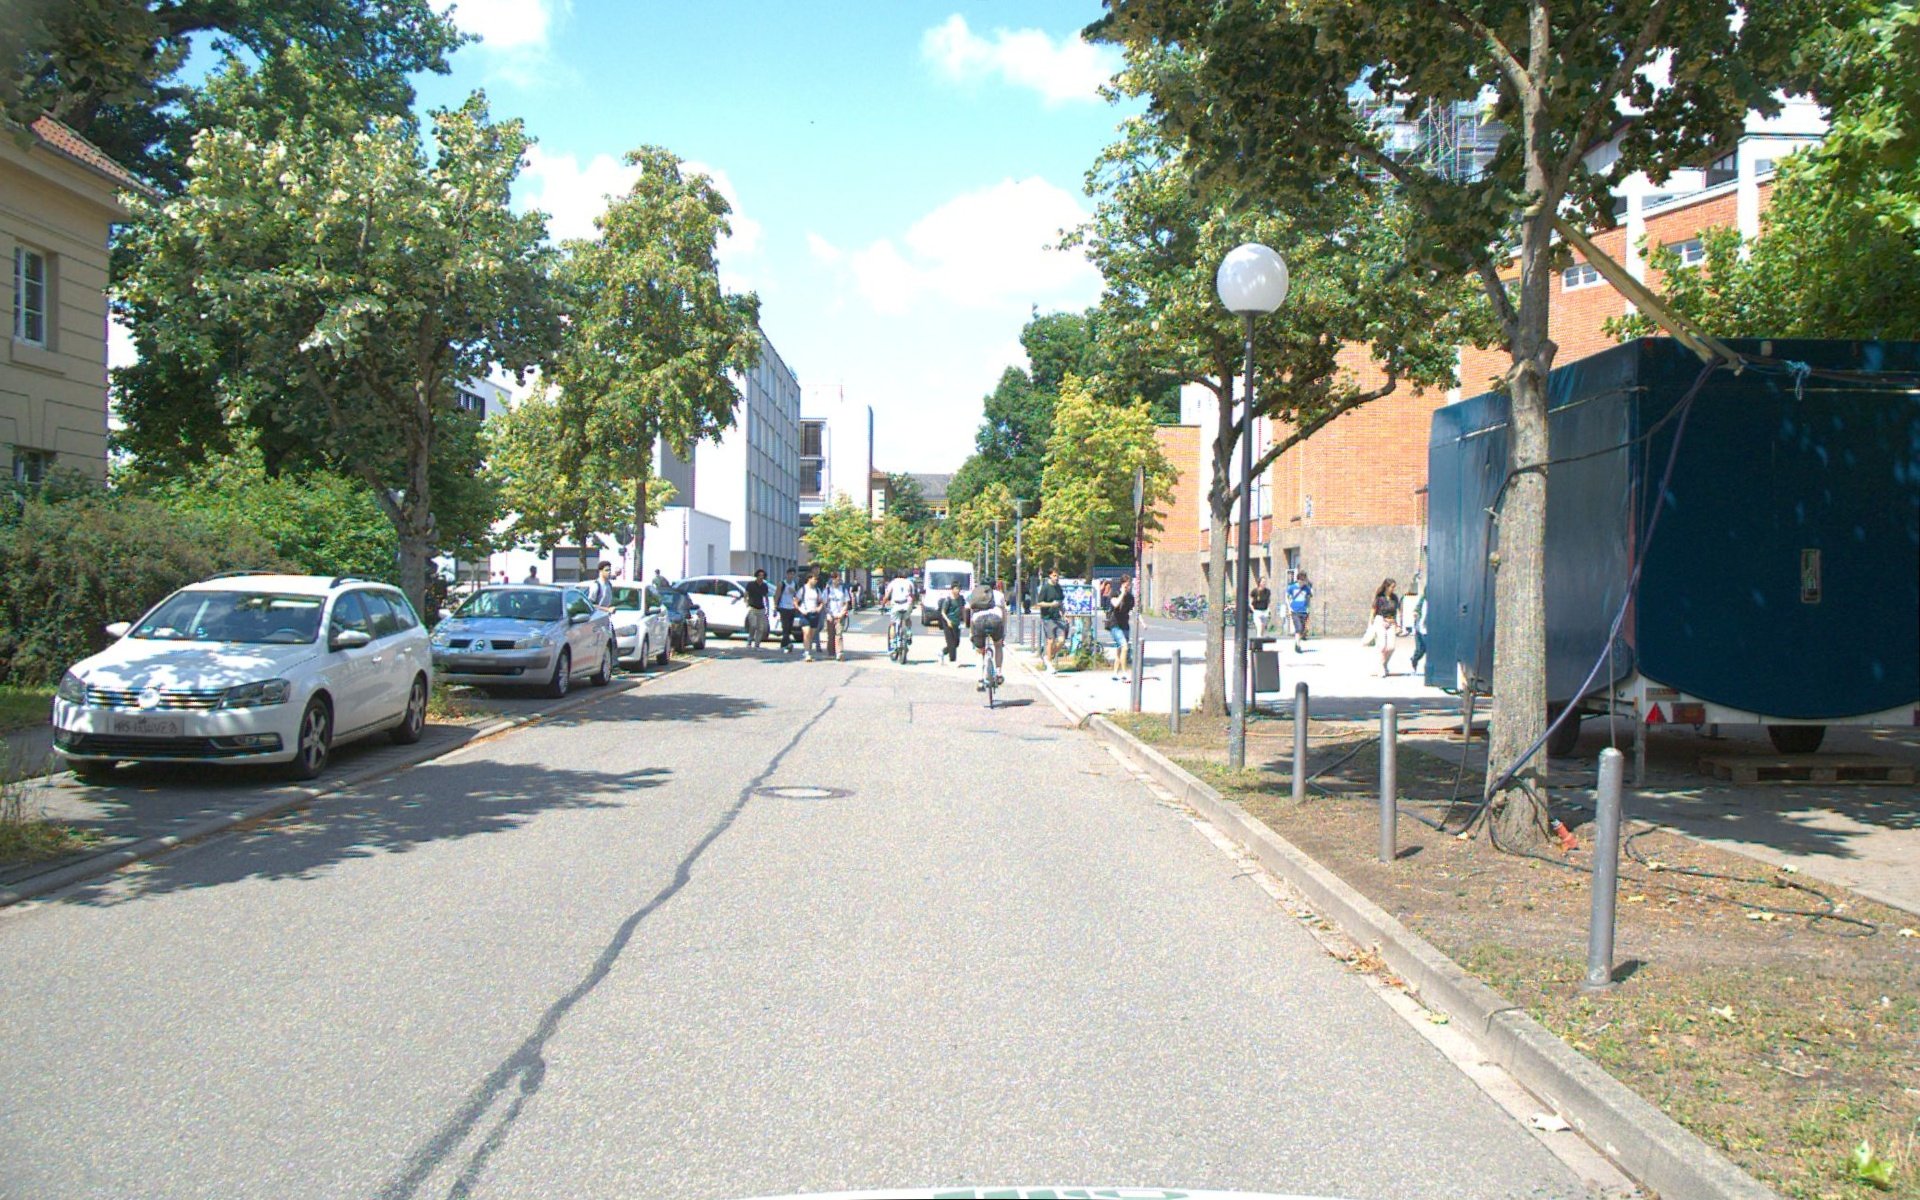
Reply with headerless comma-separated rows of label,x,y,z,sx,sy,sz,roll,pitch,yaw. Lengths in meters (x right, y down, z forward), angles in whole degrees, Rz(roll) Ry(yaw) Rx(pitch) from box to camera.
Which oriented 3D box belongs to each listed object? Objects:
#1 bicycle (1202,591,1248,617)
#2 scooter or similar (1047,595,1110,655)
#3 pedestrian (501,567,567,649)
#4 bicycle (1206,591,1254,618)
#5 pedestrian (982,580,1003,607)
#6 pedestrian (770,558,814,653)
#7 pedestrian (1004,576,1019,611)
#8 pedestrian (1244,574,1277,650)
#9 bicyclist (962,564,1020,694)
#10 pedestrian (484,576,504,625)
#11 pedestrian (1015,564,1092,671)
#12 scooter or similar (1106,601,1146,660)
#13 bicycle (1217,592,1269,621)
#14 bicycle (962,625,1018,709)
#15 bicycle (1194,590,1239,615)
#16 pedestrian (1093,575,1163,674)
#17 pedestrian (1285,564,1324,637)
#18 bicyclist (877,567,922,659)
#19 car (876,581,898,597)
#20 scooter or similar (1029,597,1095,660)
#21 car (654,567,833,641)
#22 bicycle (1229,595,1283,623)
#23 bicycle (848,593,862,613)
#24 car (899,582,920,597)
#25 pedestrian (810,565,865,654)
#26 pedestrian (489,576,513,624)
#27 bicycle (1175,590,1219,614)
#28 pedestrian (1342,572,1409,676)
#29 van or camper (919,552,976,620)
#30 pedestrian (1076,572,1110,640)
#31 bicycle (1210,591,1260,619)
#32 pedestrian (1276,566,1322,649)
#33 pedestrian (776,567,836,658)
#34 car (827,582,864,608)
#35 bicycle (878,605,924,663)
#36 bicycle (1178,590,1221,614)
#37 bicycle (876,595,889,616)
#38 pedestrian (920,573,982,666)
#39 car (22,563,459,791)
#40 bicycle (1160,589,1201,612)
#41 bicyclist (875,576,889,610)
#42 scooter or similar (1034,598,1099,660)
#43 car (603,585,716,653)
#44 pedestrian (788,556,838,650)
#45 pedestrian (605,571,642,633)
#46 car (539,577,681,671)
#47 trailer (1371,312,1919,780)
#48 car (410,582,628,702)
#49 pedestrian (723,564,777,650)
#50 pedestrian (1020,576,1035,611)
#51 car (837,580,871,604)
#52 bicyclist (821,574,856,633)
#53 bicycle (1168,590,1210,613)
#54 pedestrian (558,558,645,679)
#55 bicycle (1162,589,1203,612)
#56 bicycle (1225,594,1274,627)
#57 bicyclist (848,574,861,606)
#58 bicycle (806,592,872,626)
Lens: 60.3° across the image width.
bicycle,10.654,0.147,66.508,1.772,1.002,0.560,-1,0,-2
scooter or similar,2.601,0.539,36.384,1.237,1.287,0.638,0,0,31
pedestrian,-10.654,0.203,41.374,1.159,1.937,1.011,0,-5,45
bicycle,10.646,0.165,65.279,1.772,1.002,0.560,-1,0,-2
pedestrian,2.523,-0.502,129.079,1.470,2.031,1.645,-3,1,-3
pedestrian,-3.626,0.113,35.659,0.610,2.015,0.819,0,-1,-32
pedestrian,2.821,-0.368,90.928,0.774,1.892,1.243,0,0,0
pedestrian,6.732,0.256,37.033,0.493,1.659,0.569,-3,2,-13
bicyclist,0.414,0.368,22.411,0.702,1.691,1.095,2,1,0
pedestrian,-17.238,0.025,61.231,0.540,1.795,0.586,1,0,-1
pedestrian,1.719,0.304,30.489,1.096,1.892,0.850,1,3,41
scooter or similar,3.425,0.609,34.035,0.635,1.180,1.266,0,0,14
bicycle,10.358,0.230,60.517,1.772,1.002,0.560,-1,0,-2
bicycle,0.389,0.881,22.348,0.692,1.010,1.910,2,1,0
bicycle,10.718,0.103,69.056,1.772,1.002,0.560,-1,0,-2
pedestrian,2.830,0.403,27.825,0.844,1.623,0.817,-2,1,-44
pedestrian,9.121,0.002,43.775,0.774,1.892,1.116,0,0,-2
bicyclist,-1.220,0.258,33.274,0.756,1.786,0.847,-4,0,-5
car,-7.315,-1.126,166.299,1.758,1.556,4.002,0,1,3
scooter or similar,2.141,0.586,34.788,1.237,1.287,0.649,0,0,31
car,-5.589,0.089,42.475,4.431,1.647,1.917,3,-1,36
bicycle,10.513,0.318,58.759,1.772,0.928,0.560,-1,0,-2
bicycle,-5.260,0.143,82.815,0.663,0.981,2.002,0,1,-3
car,-5.018,-1.057,165.709,1.758,1.556,4.002,0,1,3
pedestrian,-2.478,0.184,33.476,0.891,1.769,0.675,1,1,37
pedestrian,-17.162,0.006,61.877,0.679,1.779,0.636,1,0,-1
bicycle,10.248,0.083,71.583,1.772,1.002,0.560,-1,0,-2
pedestrian,7.118,0.402,28.369,0.858,1.665,0.949,-2,4,-1
van or camper,-0.441,-0.507,63.210,1.952,2.488,4.570,0,0,2
pedestrian,3.464,0.145,43.112,0.689,1.724,0.960,-1,2,-8
bicycle,10.366,0.190,62.427,1.772,1.002,0.560,-1,0,-2
pedestrian,7.640,0.169,37.294,0.696,1.818,0.750,-3,2,-14
pedestrian,-3.066,0.259,32.960,0.965,1.770,0.697,-2,-2,40
car,-6.856,-0.330,99.654,1.758,1.556,4.002,0,1,3
bicycle,-1.195,0.665,33.182,0.792,1.019,2.122,2,2,-5
bicycle,10.465,0.079,72.420,1.772,1.002,0.560,-1,0,-2
bicycle,-3.940,0.289,83.915,0.663,0.981,2.002,1,2,-3
pedestrian,-0.177,0.362,32.561,0.976,1.749,0.700,4,4,41
car,-5.545,0.509,13.460,1.691,1.482,4.581,2,0,-3
bicycle,10.192,0.017,76.416,1.772,1.002,0.560,-1,0,-2
bicyclist,-3.957,-0.377,83.892,0.654,1.711,0.992,-1,0,-4
scooter or similar,2.297,0.611,35.566,1.237,1.287,0.649,0,0,31
car,-6.188,0.362,34.404,1.611,1.323,3.928,0,1,0
pedestrian,-3.253,0.070,36.637,0.809,2.015,0.691,3,0,22
pedestrian,-10.000,0.057,49.211,0.962,1.816,0.668,1,-1,-3
car,-5.823,0.358,27.928,1.628,1.436,3.806,2,1,-1
trailer,5.754,-0.401,14.242,2.637,3.105,6.255,-1,0,-2
car,-5.684,0.484,21.853,1.690,1.367,4.166,2,1,0
pedestrian,-4.560,0.151,35.947,0.785,1.803,0.854,3,0,22
pedestrian,3.725,-0.378,90.951,0.774,1.892,1.026,0,0,0
car,-6.833,-0.524,107.068,1.758,1.556,4.002,0,1,3
bicyclist,-3.726,0.104,50.698,0.680,1.787,0.806,1,-1,43
bicycle,10.114,0.063,73.114,1.772,1.002,0.560,-1,0,-2
pedestrian,-5.412,0.280,25.002,1.083,1.746,0.710,3,-1,-3
bicycle,10.139,0.030,75.452,1.772,1.002,0.560,-1,0,-2
bicycle,9.529,0.336,54.534,1.504,1.051,0.560,-1,0,-2
bicyclist,-5.279,-0.506,83.009,0.630,1.629,0.908,-1,0,-3
bicycle,-3.717,0.273,50.700,2.087,1.020,0.805,1,0,44
